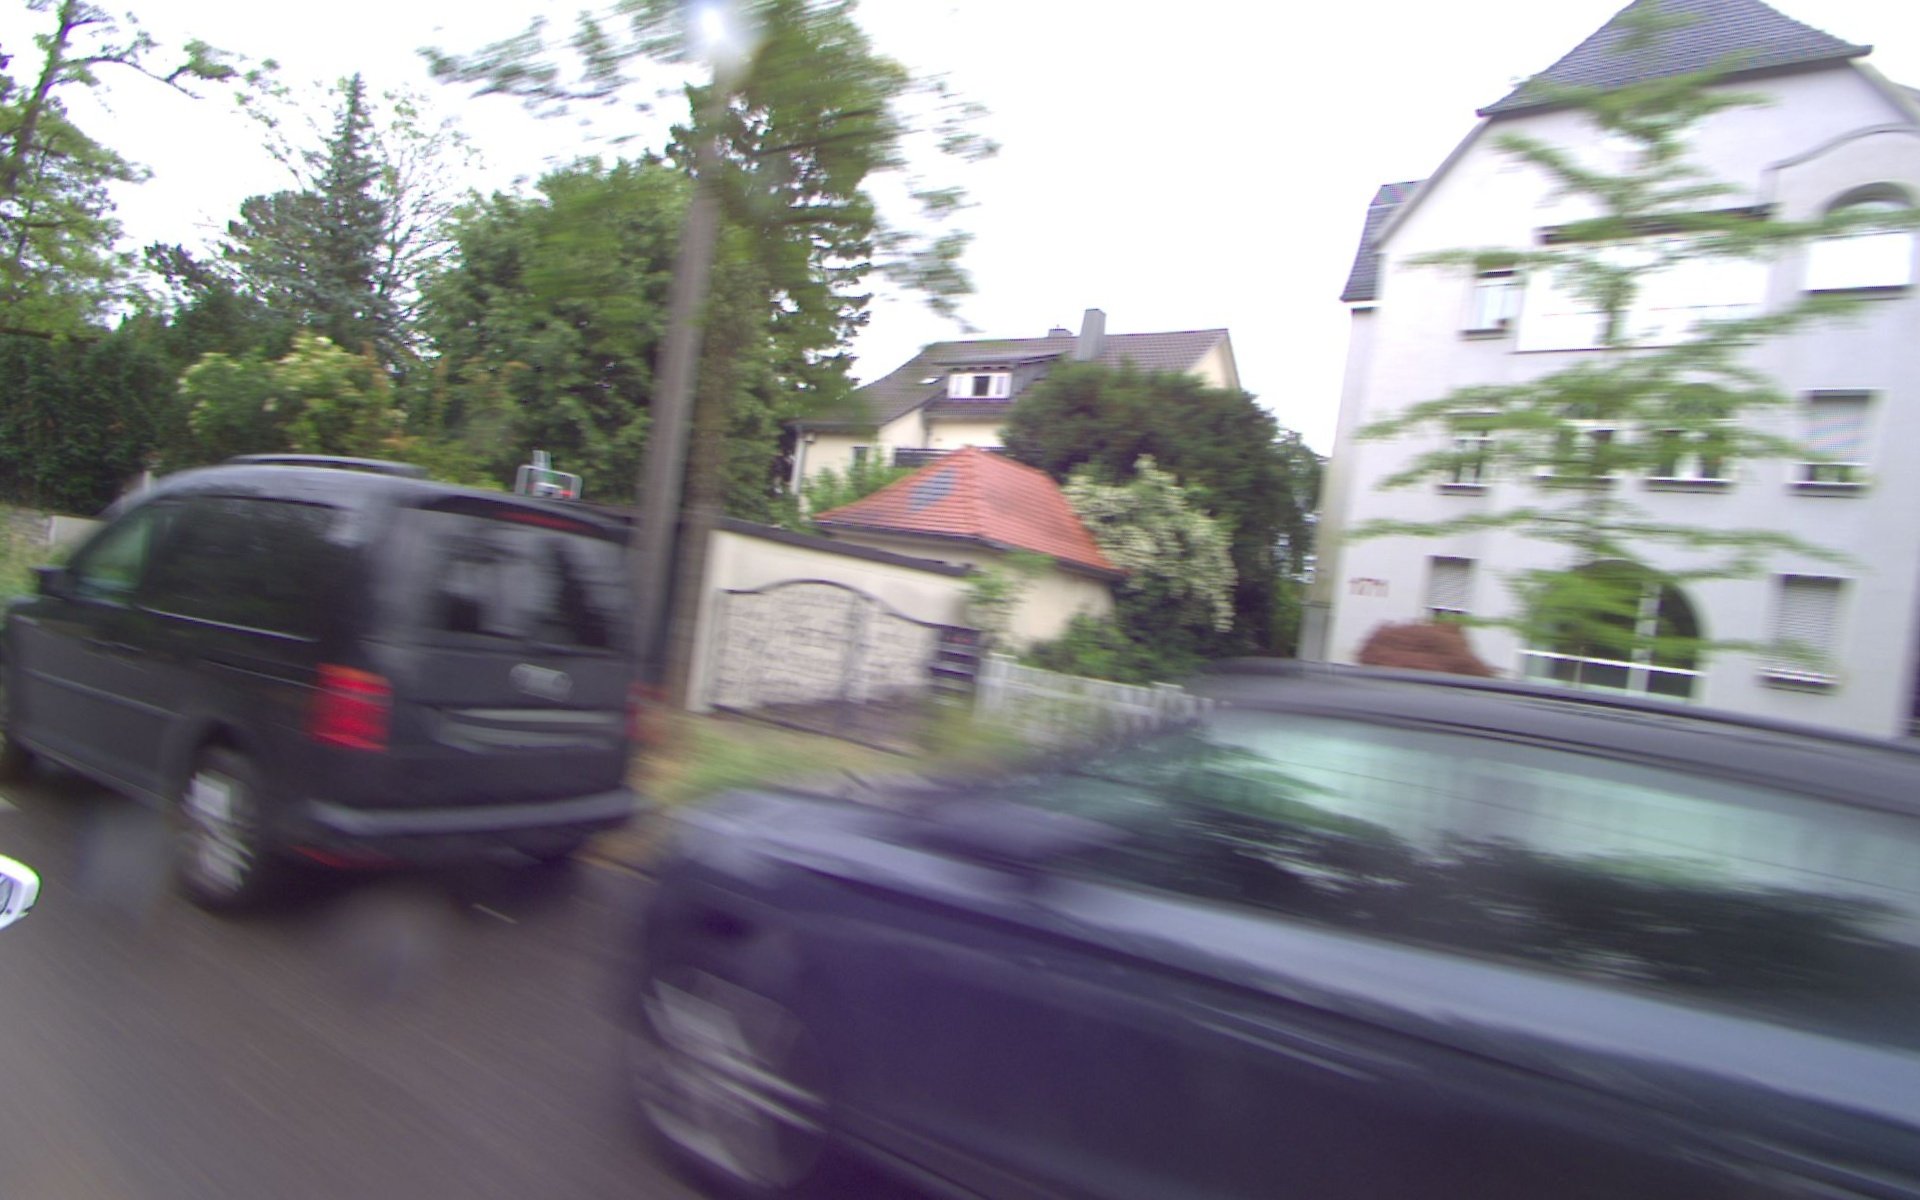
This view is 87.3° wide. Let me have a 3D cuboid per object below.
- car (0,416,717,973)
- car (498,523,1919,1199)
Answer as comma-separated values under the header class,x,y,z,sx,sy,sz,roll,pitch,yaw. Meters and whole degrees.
class,x,y,z,sx,sy,sz,roll,pitch,yaw
car,-3.516,0.213,5.281,4.160,1.868,1.734,8,-2,32
car,0.920,0.879,2.513,4.008,1.573,1.682,8,-2,32
